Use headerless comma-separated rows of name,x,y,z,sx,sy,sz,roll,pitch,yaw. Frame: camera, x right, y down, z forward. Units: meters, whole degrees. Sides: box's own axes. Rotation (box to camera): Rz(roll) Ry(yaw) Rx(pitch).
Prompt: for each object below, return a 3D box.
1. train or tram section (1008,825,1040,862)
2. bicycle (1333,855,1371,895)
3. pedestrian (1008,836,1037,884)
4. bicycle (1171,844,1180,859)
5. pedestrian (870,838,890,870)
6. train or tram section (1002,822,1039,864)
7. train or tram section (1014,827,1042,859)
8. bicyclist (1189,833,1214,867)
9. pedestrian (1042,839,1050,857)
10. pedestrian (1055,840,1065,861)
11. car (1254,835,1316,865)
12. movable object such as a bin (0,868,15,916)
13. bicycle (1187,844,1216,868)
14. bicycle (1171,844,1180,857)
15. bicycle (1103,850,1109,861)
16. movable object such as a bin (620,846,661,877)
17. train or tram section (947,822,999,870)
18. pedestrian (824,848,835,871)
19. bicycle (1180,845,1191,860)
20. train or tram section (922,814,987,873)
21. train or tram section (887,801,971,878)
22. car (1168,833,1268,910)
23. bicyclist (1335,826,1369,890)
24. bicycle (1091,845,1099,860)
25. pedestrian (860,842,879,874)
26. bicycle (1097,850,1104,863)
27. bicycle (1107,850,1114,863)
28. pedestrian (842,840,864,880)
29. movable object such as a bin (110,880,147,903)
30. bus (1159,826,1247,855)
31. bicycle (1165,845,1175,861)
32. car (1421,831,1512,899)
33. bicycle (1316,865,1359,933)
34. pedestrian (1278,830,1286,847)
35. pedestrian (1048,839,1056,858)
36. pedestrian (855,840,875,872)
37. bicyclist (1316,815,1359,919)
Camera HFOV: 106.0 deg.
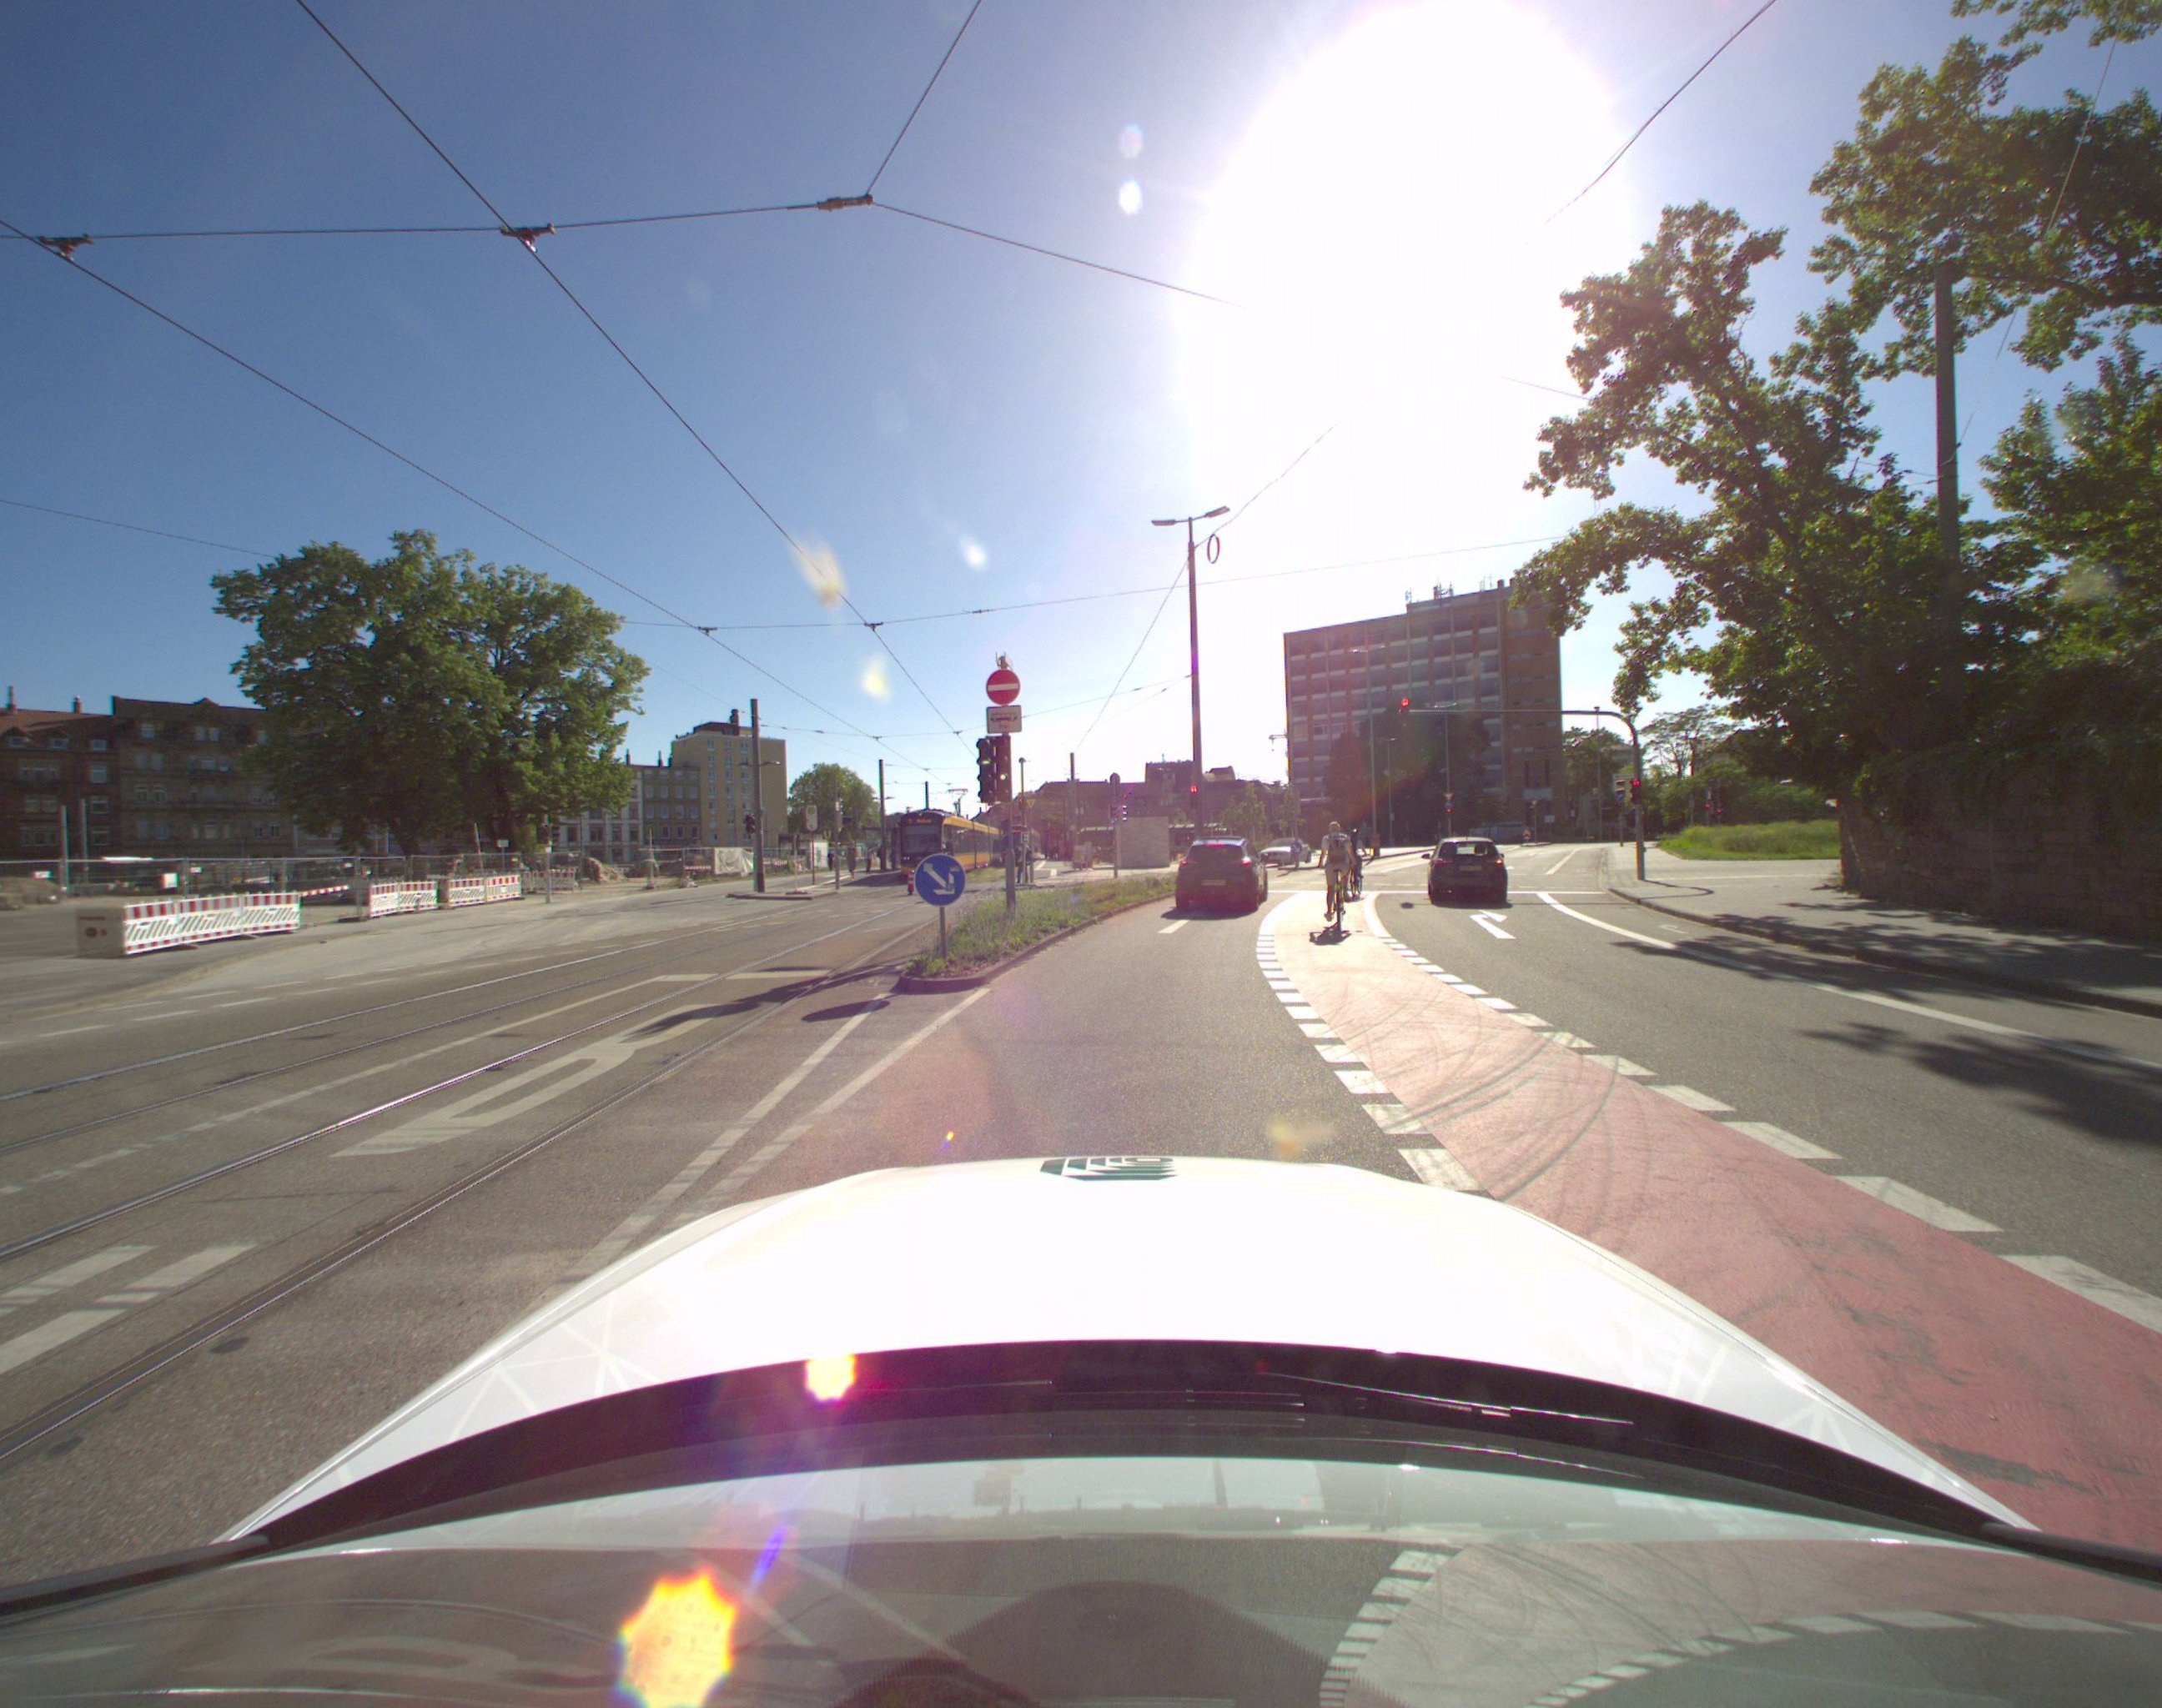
train or tram section,-5.797,-1.090,84.988,2.863,3.507,10.535,-1,1,-2
bicycle,7.217,0.543,21.602,0.716,0.959,1.895,0,1,26
pedestrian,-2.270,0.217,31.663,1.017,1.832,0.757,-1,-1,-13
bicycle,7.115,-0.171,61.300,0.578,1.088,2.060,-1,0,3
pedestrian,-12.934,-0.011,52.474,0.956,2.014,1.000,-1,-1,5
train or tram section,-5.440,-0.969,74.516,2.864,3.507,10.535,-1,1,-2
train or tram section,-6.109,-1.256,95.523,2.863,3.507,10.535,-1,1,-2
bicyclist,5.973,-0.192,40.420,0.872,1.644,1.067,-2,0,26
pedestrian,-3.575,-0.608,83.437,0.738,1.917,0.741,-1,-1,-3
pedestrian,-1.983,-0.325,76.285,0.845,1.883,0.759,-1,-1,-4
car,10.455,-0.219,41.541,1.782,1.393,4.119,-2,1,33
movable object such as a bin,-64.301,2.213,45.228,1.870,2.759,6.124,-1,0,39
bicycle,5.979,0.091,40.371,0.766,1.080,2.048,-2,0,26
bicycle,7.975,-0.267,68.777,0.578,1.088,1.872,-1,0,1
bicycle,2.036,0.118,66.379,0.420,0.938,1.379,0,0,1
movable object such as a bin,-41.403,0.723,76.476,3.948,2.796,1.845,-1,-1,36
train or tram section,-8.428,-0.645,64.963,2.808,3.507,11.205,-1,1,-1
pedestrian,-20.445,0.450,66.213,0.666,1.767,0.799,-2,0,-3
bicycle,7.109,-0.085,55.509,0.578,0.961,2.060,-1,0,3
train or tram section,-8.184,-0.689,54.094,2.808,3.507,10.606,-1,1,-1
train or tram section,-7.874,-0.726,43.523,2.810,3.507,10.470,-2,1,-2
car,3.305,0.333,19.072,1.809,1.599,3.676,0,1,17
bicyclist,7.182,0.090,21.532,0.715,1.625,1.061,0,1,26
bicycle,1.023,-0.123,59.680,0.564,1.093,2.030,-1,0,1
pedestrian,-12.076,0.228,46.502,0.866,1.767,0.966,-2,0,-23
bicycle,1.445,0.177,61.358,0.421,0.938,1.304,0,0,-3
bicycle,2.236,0.169,61.539,0.421,0.938,1.305,0,0,-3
pedestrian,-10.777,0.266,38.535,0.760,1.850,0.901,-2,3,-4
movable object such as a bin,-77.886,3.048,66.625,3.753,1.680,1.761,-1,2,43
bus,15.214,-1.601,102.861,2.896,3.396,12.304,0,0,-38
bicycle,6.039,-0.074,55.341,0.578,1.058,1.818,-1,0,3
car,9.580,0.231,20.461,1.741,1.541,3.678,-1,1,20
bicycle,4.512,0.757,14.267,0.657,1.047,1.899,-1,1,19
pedestrian,21.769,-1.647,88.282,0.723,1.857,0.703,-1,-1,1
pedestrian,-2.824,-0.562,79.565,0.631,1.857,0.701,-1,-1,-7
pedestrian,-13.936,0.147,52.591,0.956,2.014,1.000,-1,-1,5
bicyclist,4.514,0.210,14.291,0.658,1.747,1.010,-1,1,19
